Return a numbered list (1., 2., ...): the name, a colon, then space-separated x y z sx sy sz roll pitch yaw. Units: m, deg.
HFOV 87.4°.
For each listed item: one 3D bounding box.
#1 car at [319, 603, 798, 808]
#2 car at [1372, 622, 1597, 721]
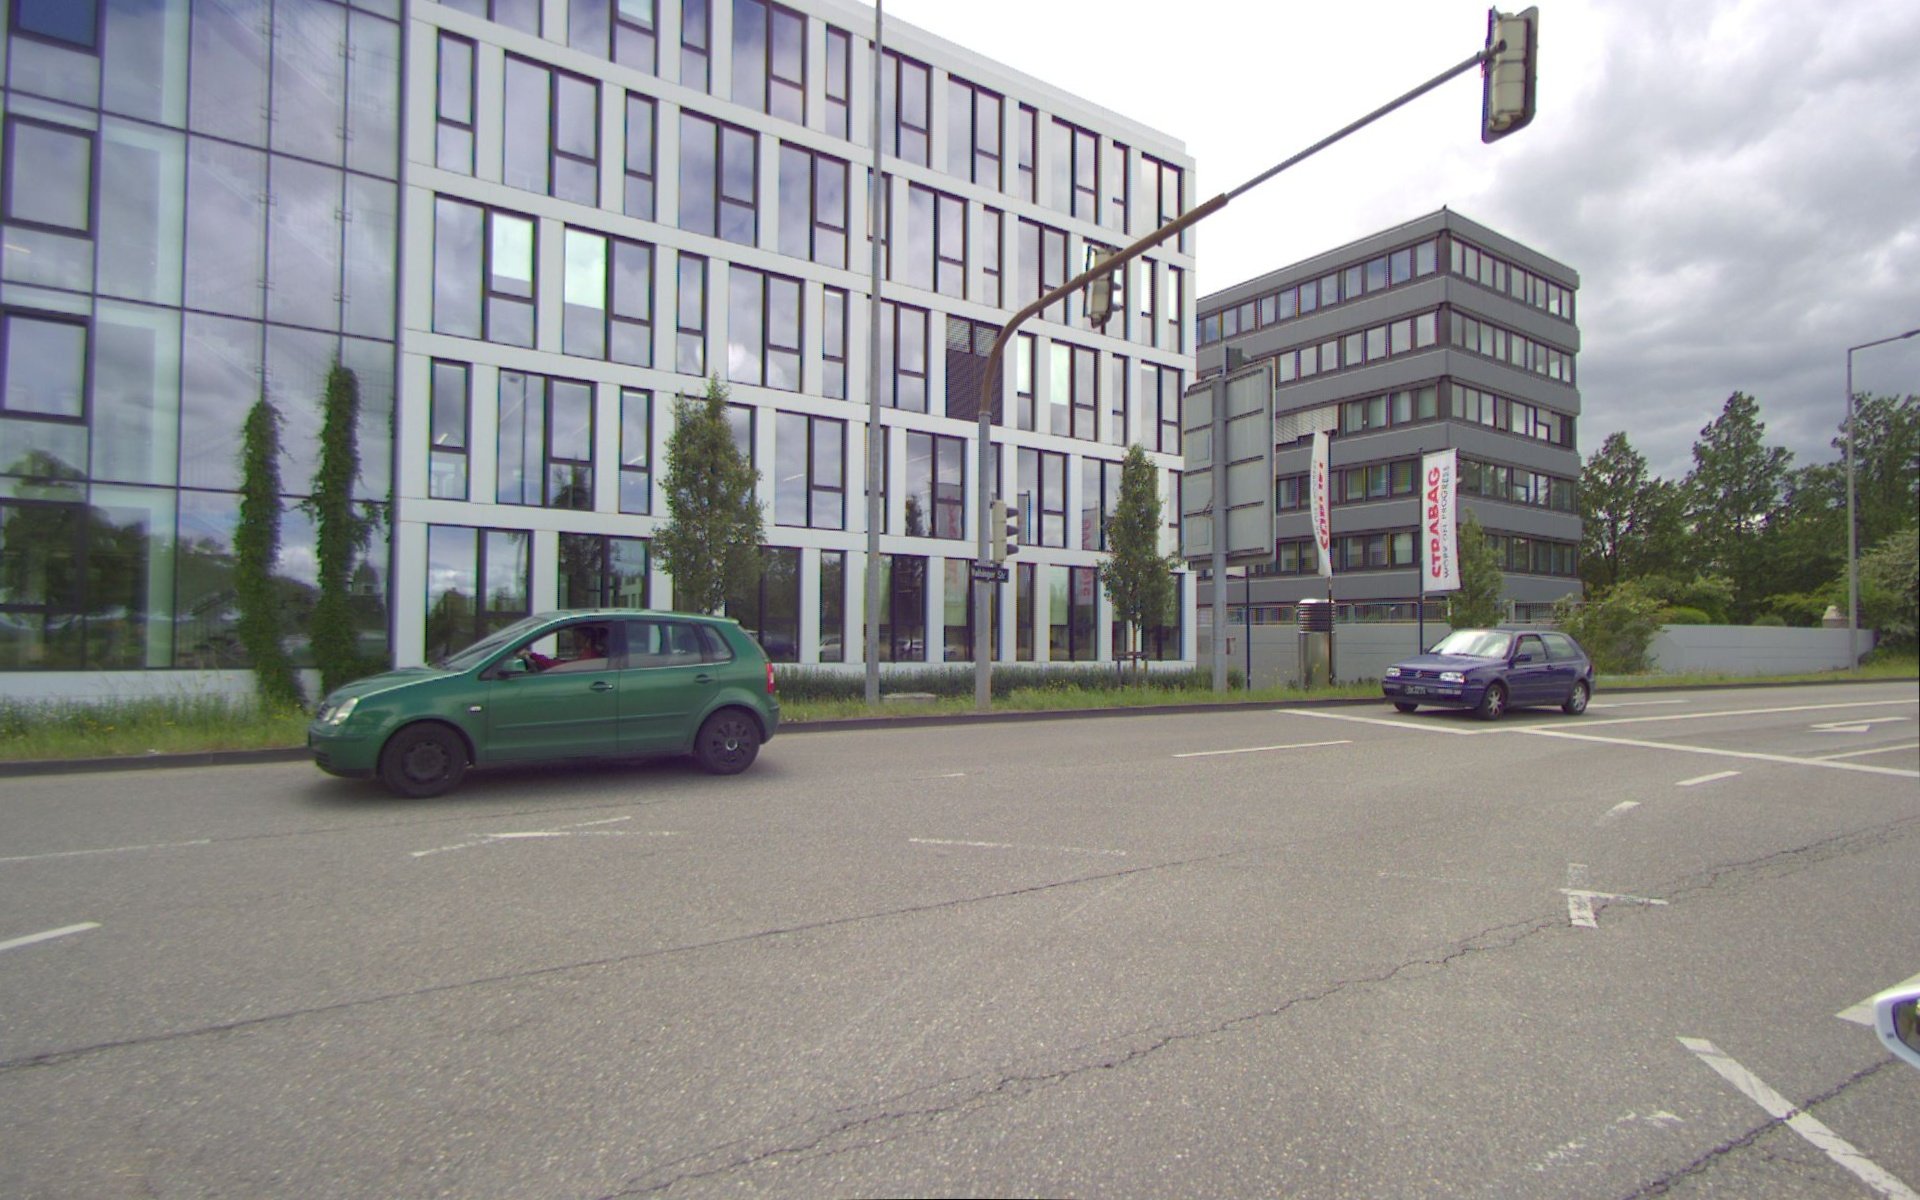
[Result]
1. car: -3.488 0.805 8.952 3.712 1.451 1.596 1 0 -33
2. car: 8.693 1.110 16.574 3.852 1.438 1.546 1 0 -32
